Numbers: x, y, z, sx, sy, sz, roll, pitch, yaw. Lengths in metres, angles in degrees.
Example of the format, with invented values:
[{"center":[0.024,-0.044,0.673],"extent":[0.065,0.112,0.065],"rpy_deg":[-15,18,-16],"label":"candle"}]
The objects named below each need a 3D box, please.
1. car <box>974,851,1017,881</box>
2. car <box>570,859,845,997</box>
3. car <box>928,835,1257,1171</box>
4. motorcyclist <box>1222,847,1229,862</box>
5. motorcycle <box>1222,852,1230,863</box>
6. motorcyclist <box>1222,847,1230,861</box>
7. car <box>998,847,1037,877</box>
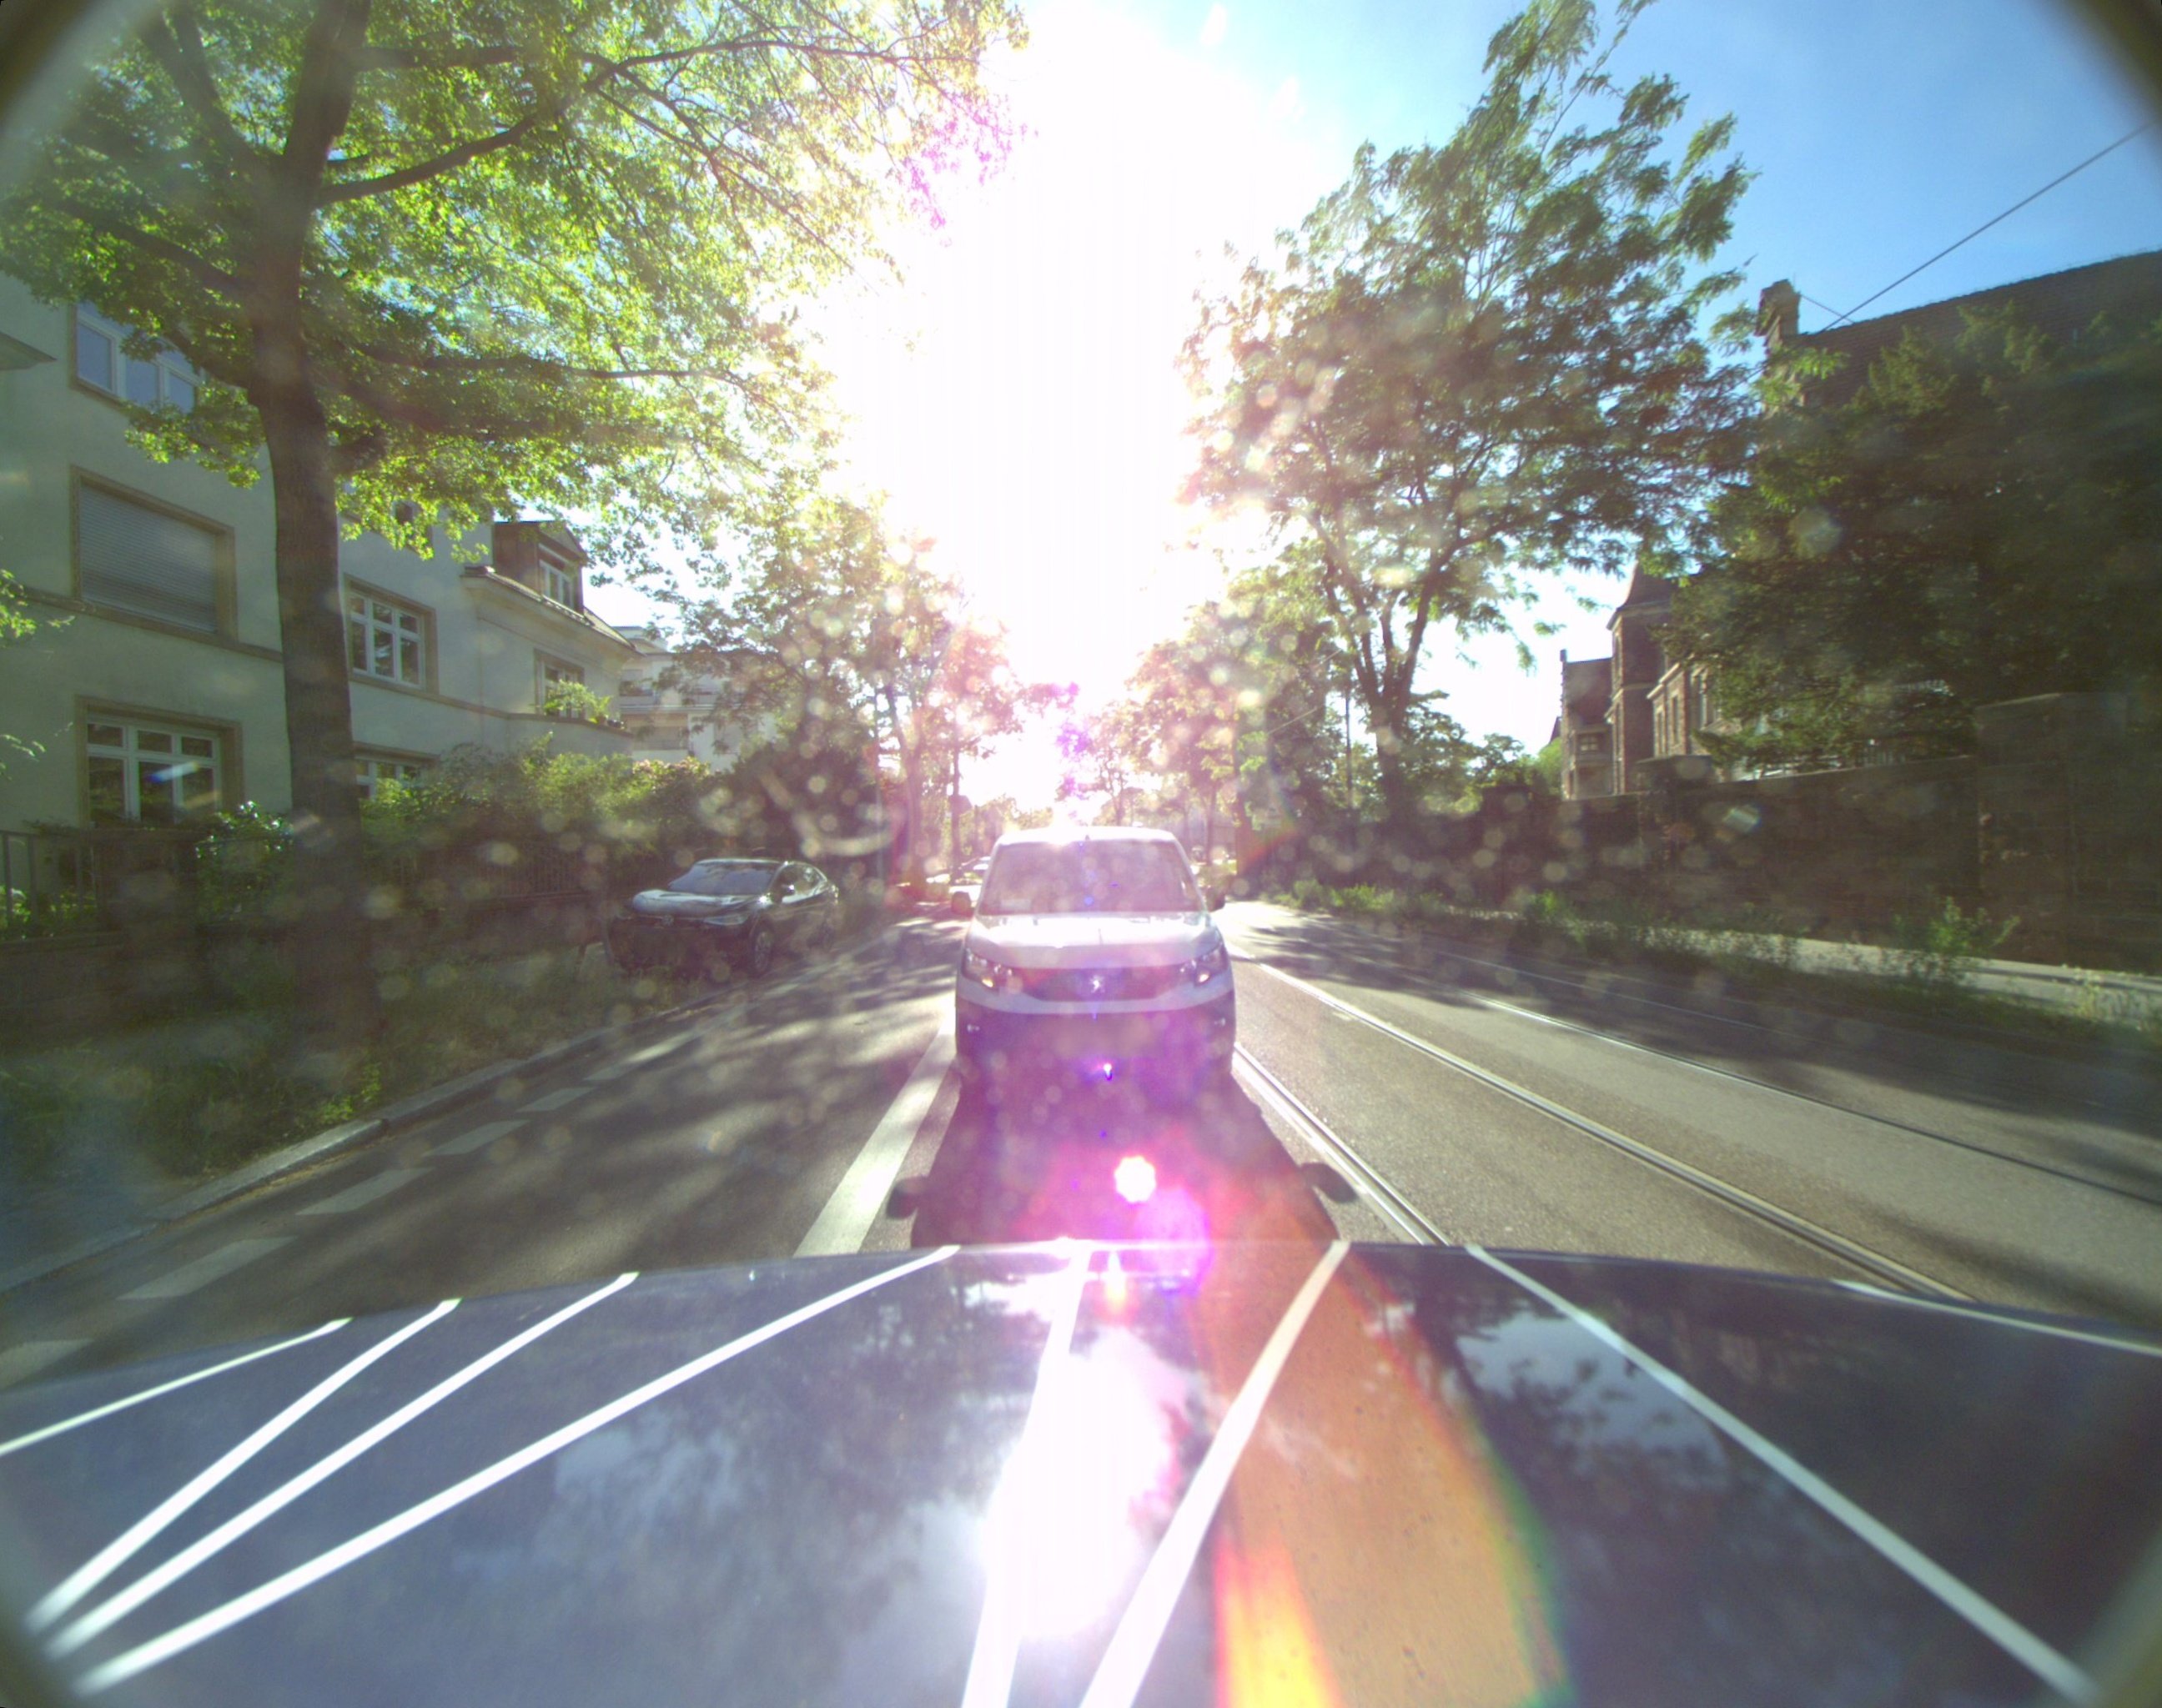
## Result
[{"center":[-5.048,0.679,45.210],"extent":[1.823,1.630,4.001],"rpy_deg":[-2,0,4],"label":"car"},{"center":[-5.274,0.939,11.536],"extent":[1.999,1.665,4.380],"rpy_deg":[1,-1,0],"label":"car"},{"center":[0.058,0.807,6.136],"extent":[1.768,1.812,3.999],"rpy_deg":[-1,0,0],"label":"car"},{"center":[14.668,0.087,77.142],"extent":[0.607,1.507,0.466],"rpy_deg":[-1,1,17],"label":"motorcyclist"},{"center":[14.833,0.331,77.615],"extent":[0.610,1.087,1.858],"rpy_deg":[-1,0,17],"label":"motorcycle"},{"center":[14.805,0.004,77.622],"extent":[0.684,1.432,0.447],"rpy_deg":[-1,1,18],"label":"motorcyclist"},{"center":[-4.302,0.503,51.934],"extent":[2.129,1.884,4.746],"rpy_deg":[-2,0,1],"label":"car"}]
